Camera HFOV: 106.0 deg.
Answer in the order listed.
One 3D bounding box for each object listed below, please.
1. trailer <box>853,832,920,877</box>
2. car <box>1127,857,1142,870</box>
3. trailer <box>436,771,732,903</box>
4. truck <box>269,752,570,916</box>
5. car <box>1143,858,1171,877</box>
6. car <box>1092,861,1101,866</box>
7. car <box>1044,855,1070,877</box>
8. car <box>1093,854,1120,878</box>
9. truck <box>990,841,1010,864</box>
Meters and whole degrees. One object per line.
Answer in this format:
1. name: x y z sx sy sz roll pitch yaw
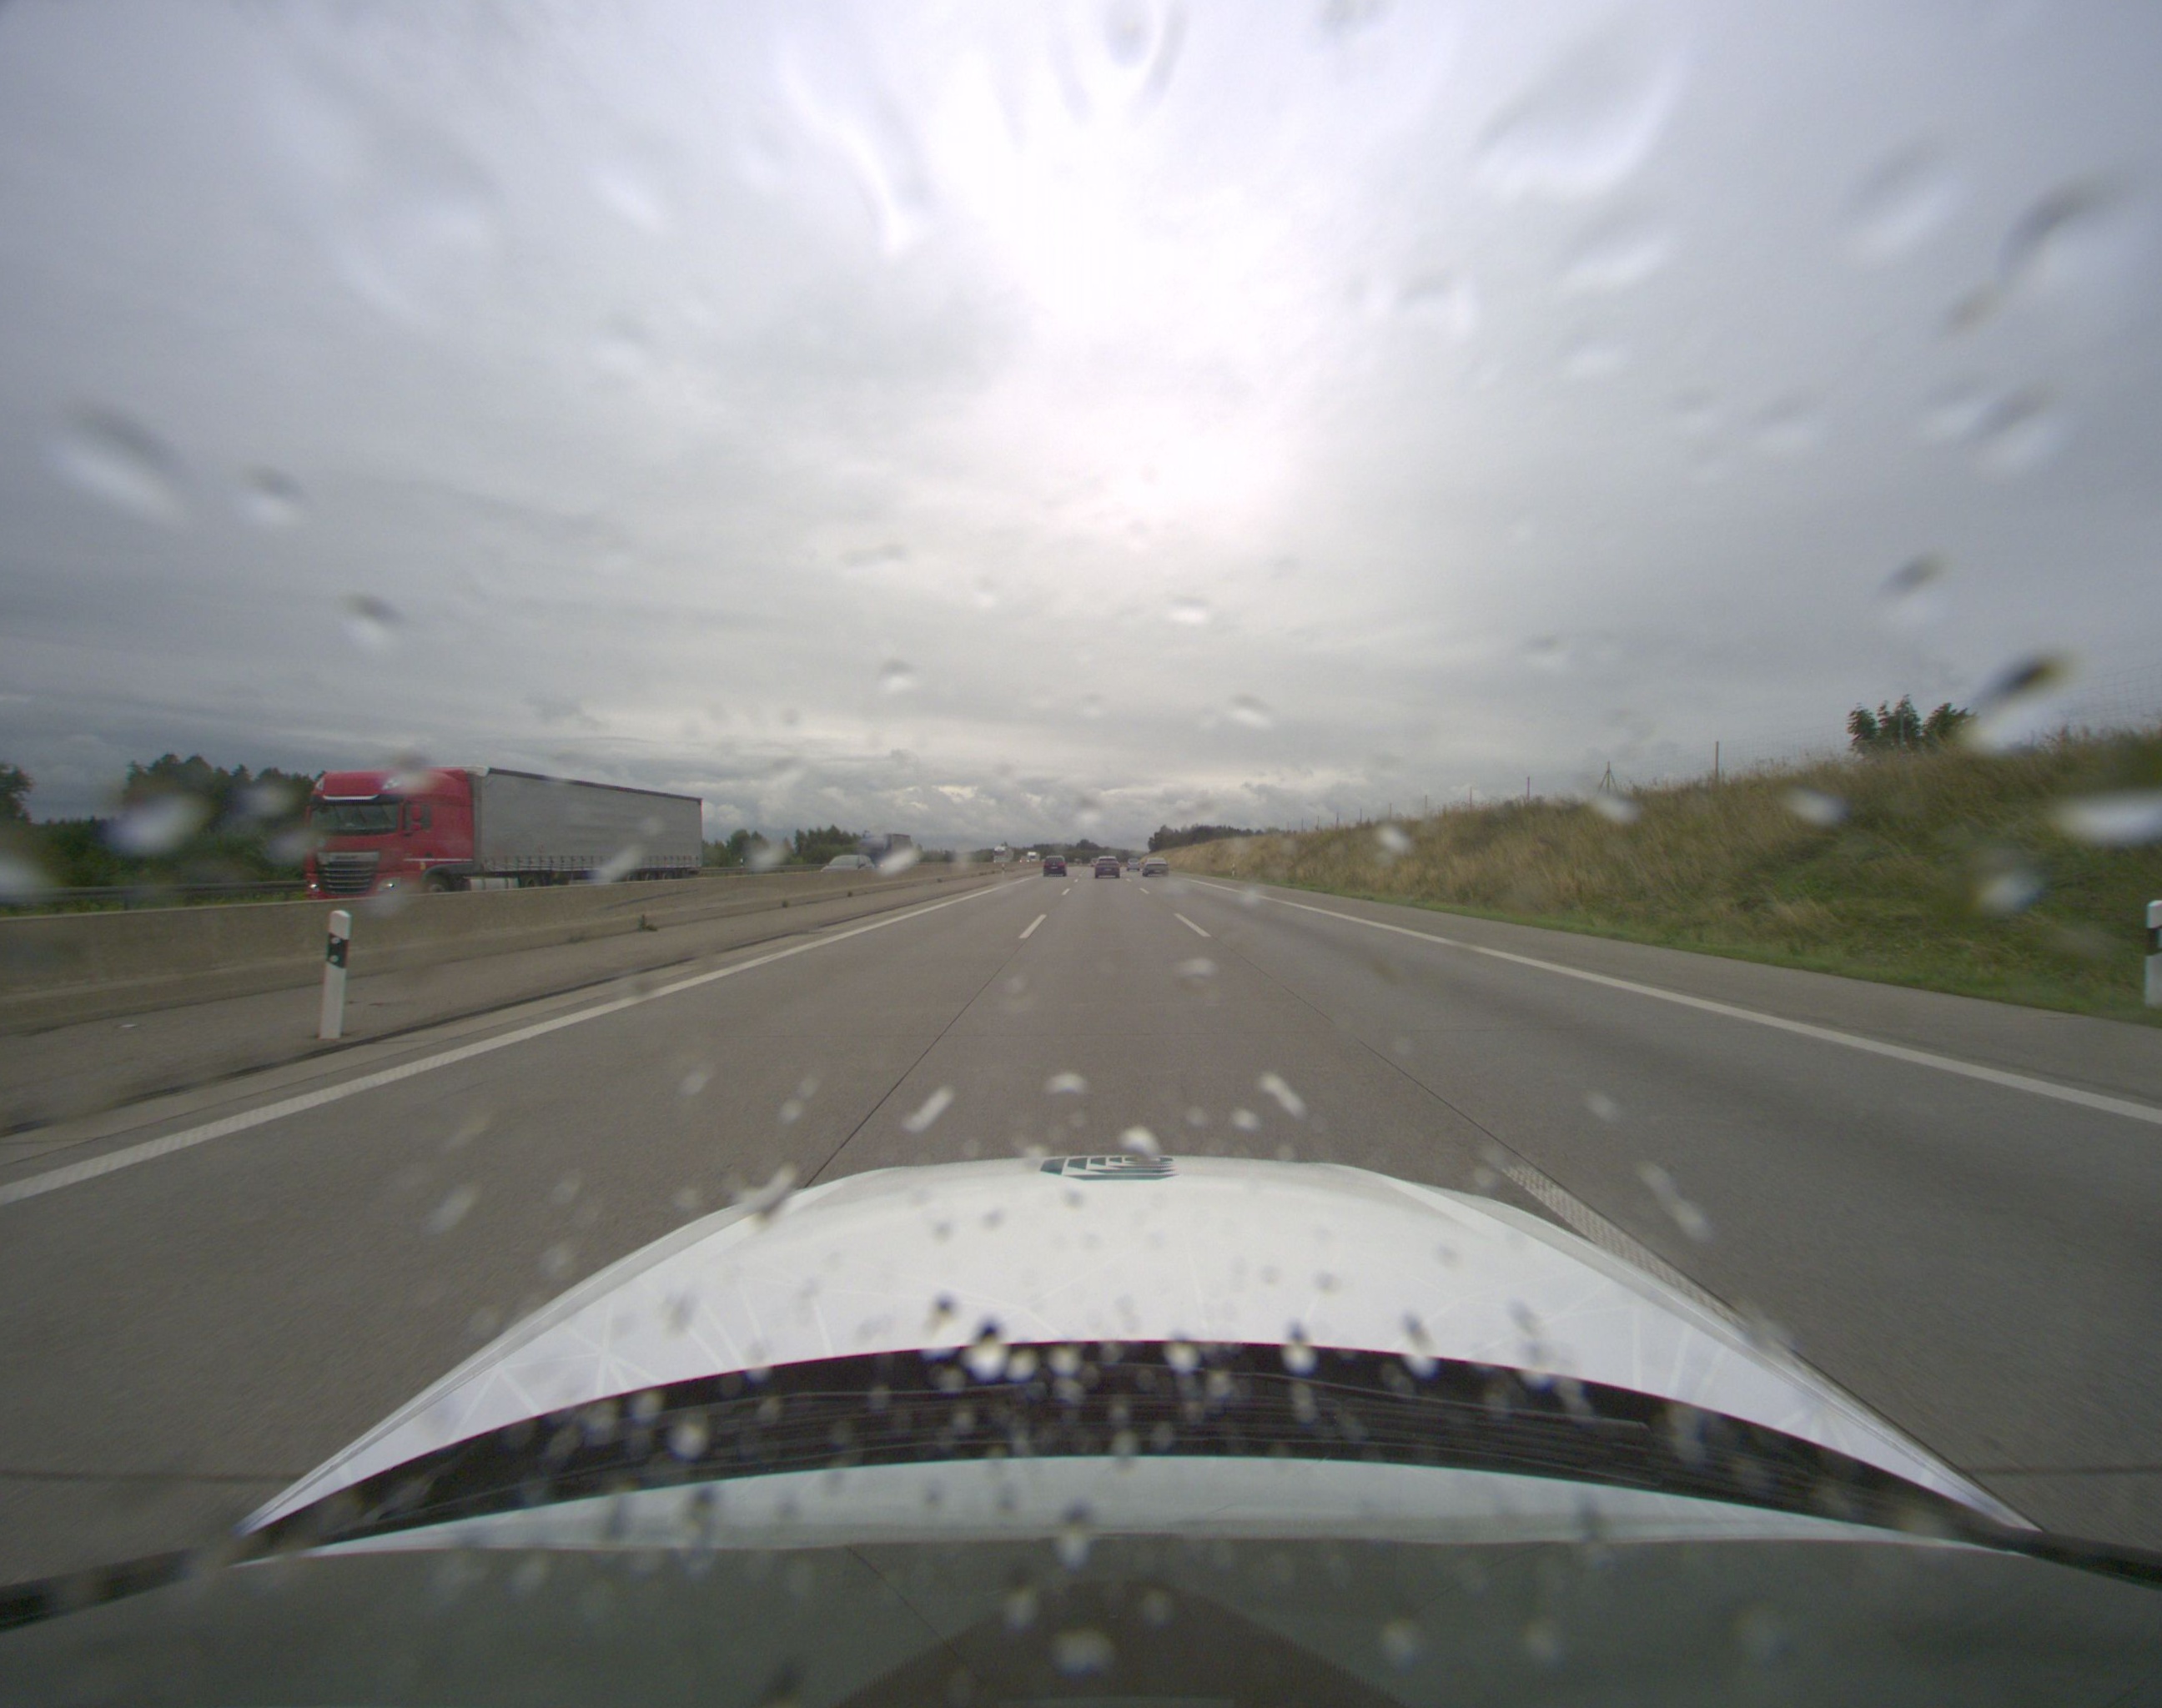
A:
1. trailer: -17.651 0.032 75.015 2.839 3.837 12.403 0 0 1
2. car: 6.358 1.124 96.840 1.480 1.470 3.505 2 0 1
3. trailer: -18.715 -0.561 32.580 3.470 4.201 12.934 0 0 2
4. truck: -19.022 -0.513 24.159 3.457 4.182 6.496 0 0 2
5. car: 5.970 1.046 64.673 2.006 1.446 4.748 0 0 3
6. car: 3.394 2.091 180.400 1.789 1.221 4.005 0 0 5
7. car: -1.977 0.964 68.185 1.778 1.747 3.918 0 0 3
8. car: 1.956 0.894 61.189 1.890 1.690 5.269 0 0 3
9. truck: -16.901 -0.344 170.786 3.576 4.819 5.868 0 0 0
